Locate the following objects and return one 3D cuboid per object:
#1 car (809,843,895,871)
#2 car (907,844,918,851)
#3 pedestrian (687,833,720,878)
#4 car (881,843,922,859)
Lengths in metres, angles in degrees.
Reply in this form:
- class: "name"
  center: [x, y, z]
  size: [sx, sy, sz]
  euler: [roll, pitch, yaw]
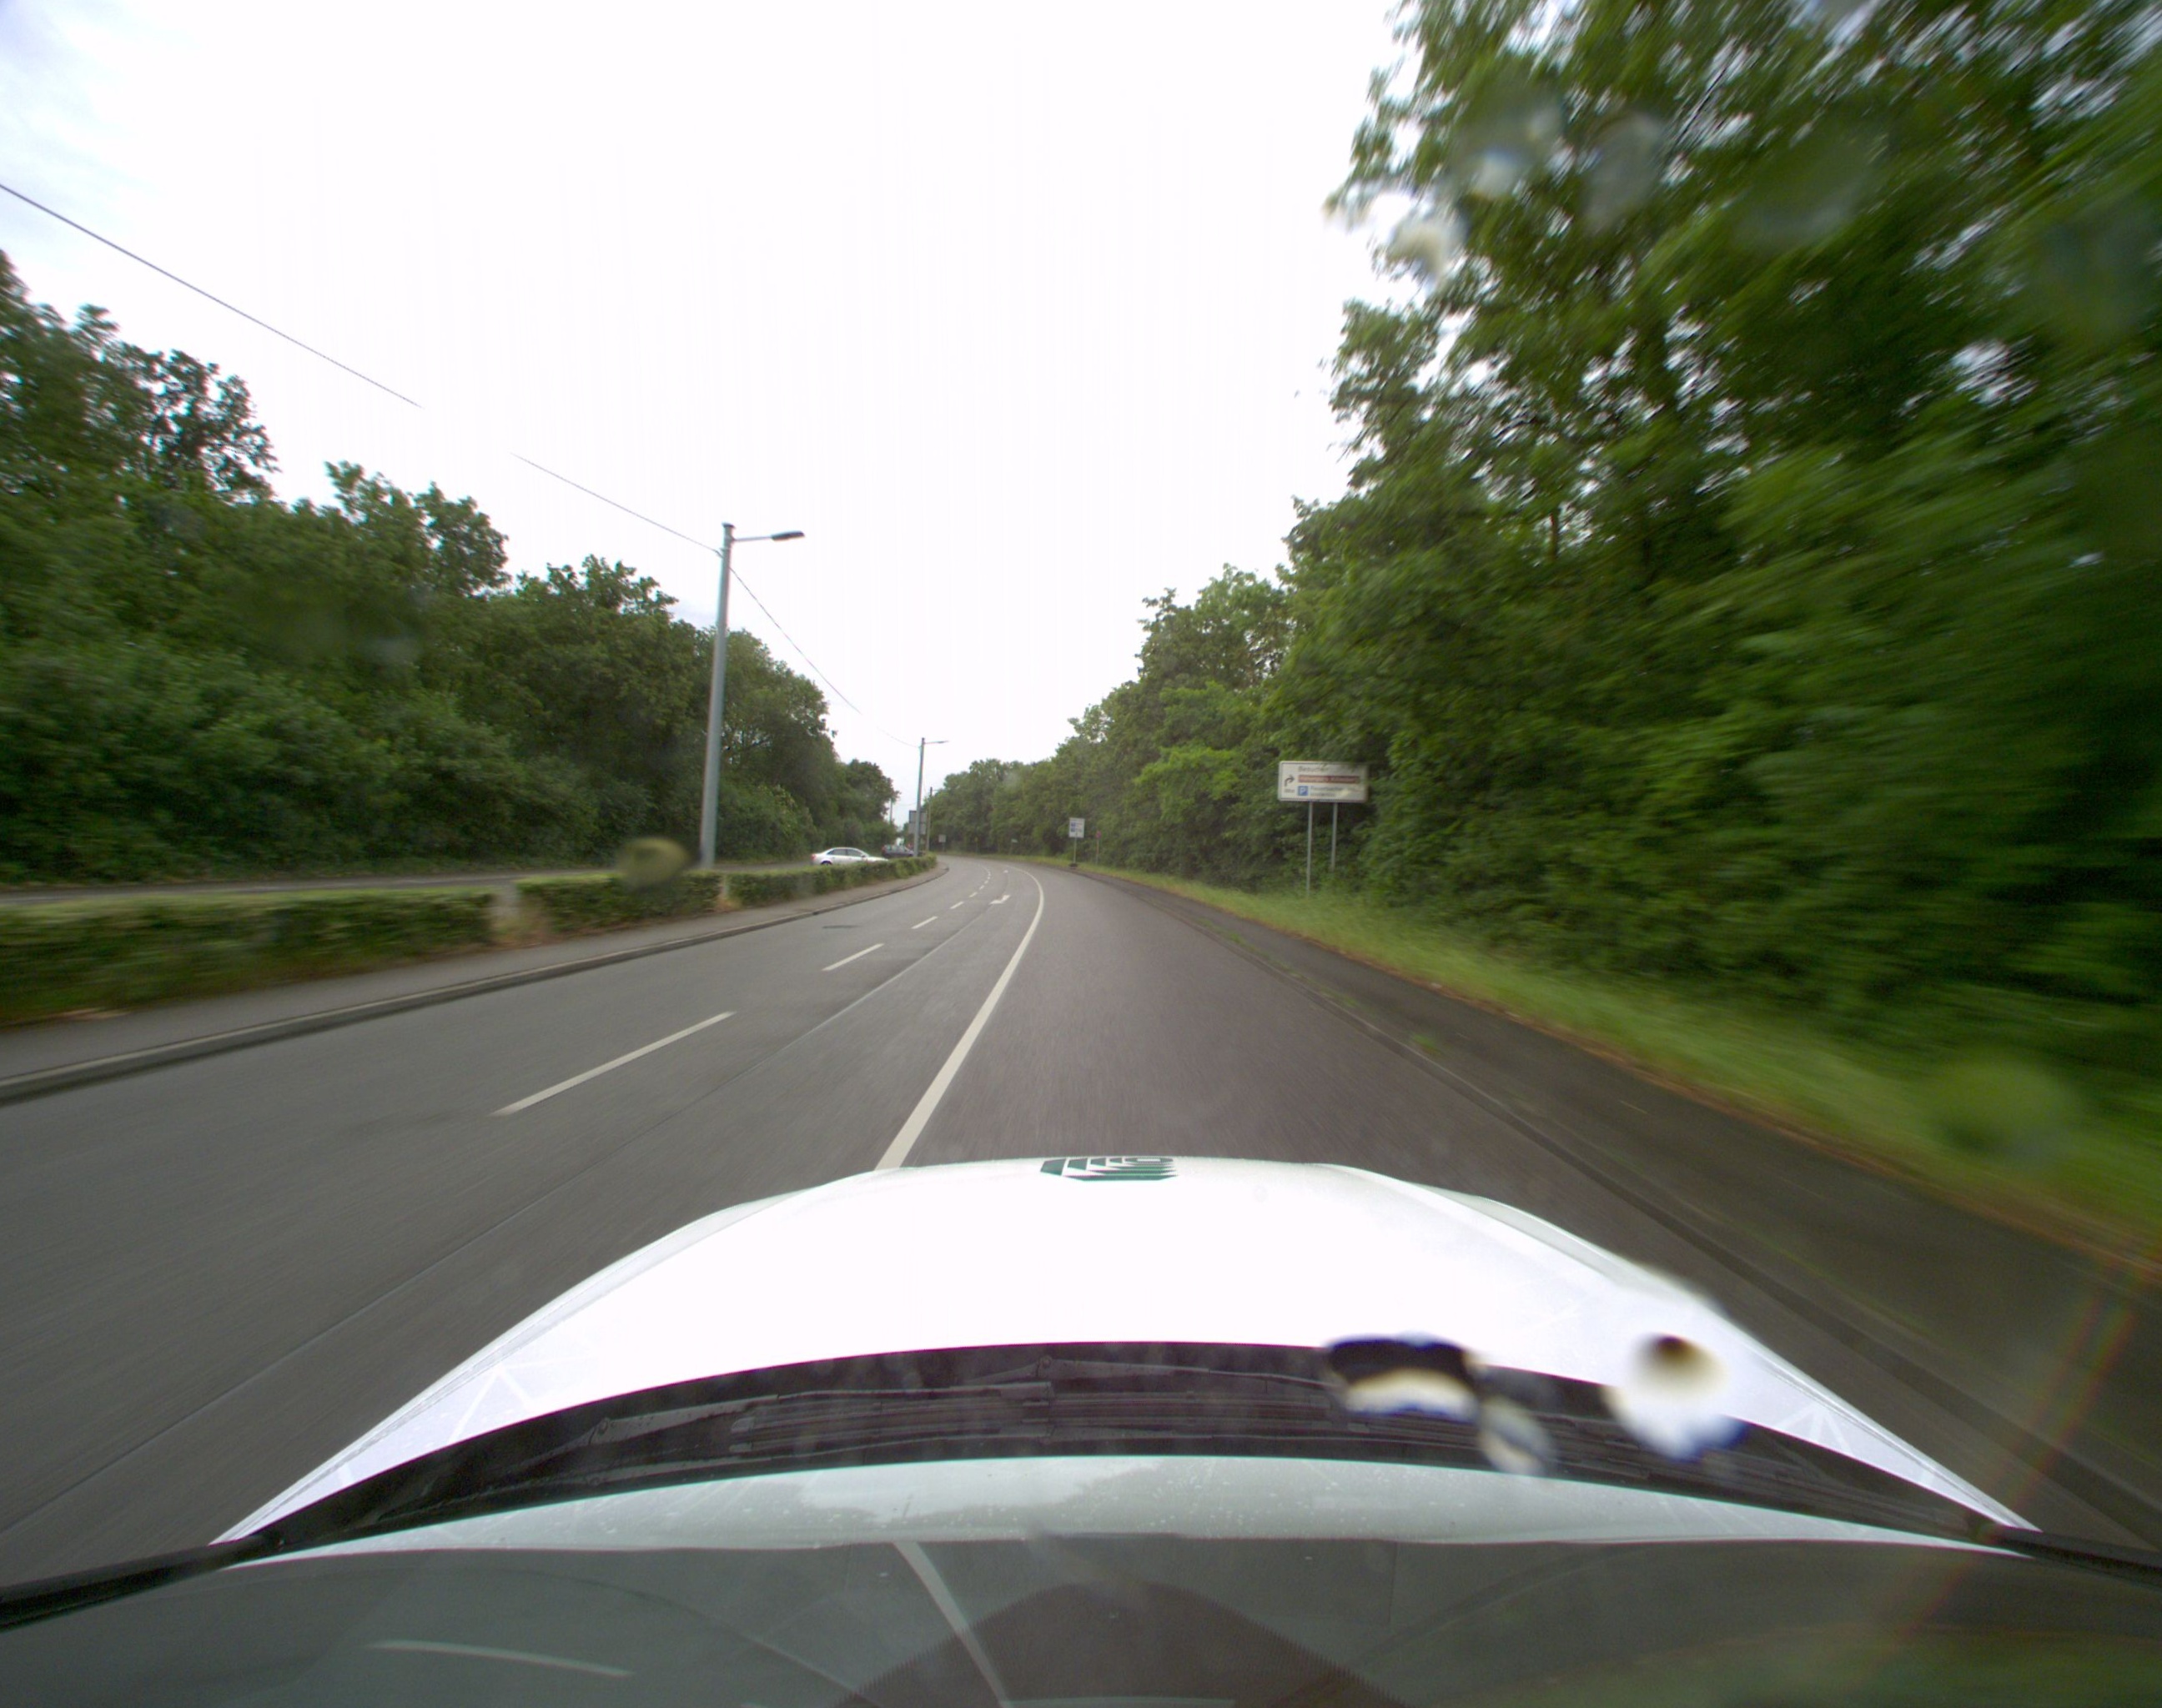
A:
- class: "car"
  center: [-13.069, 0.170, 46.697]
  size: [4.578, 1.506, 1.992]
  euler: [1, 0, -12]
- class: "car"
  center: [-37.363, -1.378, 180.288]
  size: [1.939, 1.498, 4.294]
  euler: [1, 0, -17]
- class: "pedestrian"
  center: [-15.565, 0.064, 33.620]
  size: [0.814, 1.797, 1.135]
  euler: [1, 0, -1]
- class: "car"
  center: [-20.332, -0.345, 92.345]
  size: [4.289, 1.708, 1.994]
  euler: [1, 0, -9]
